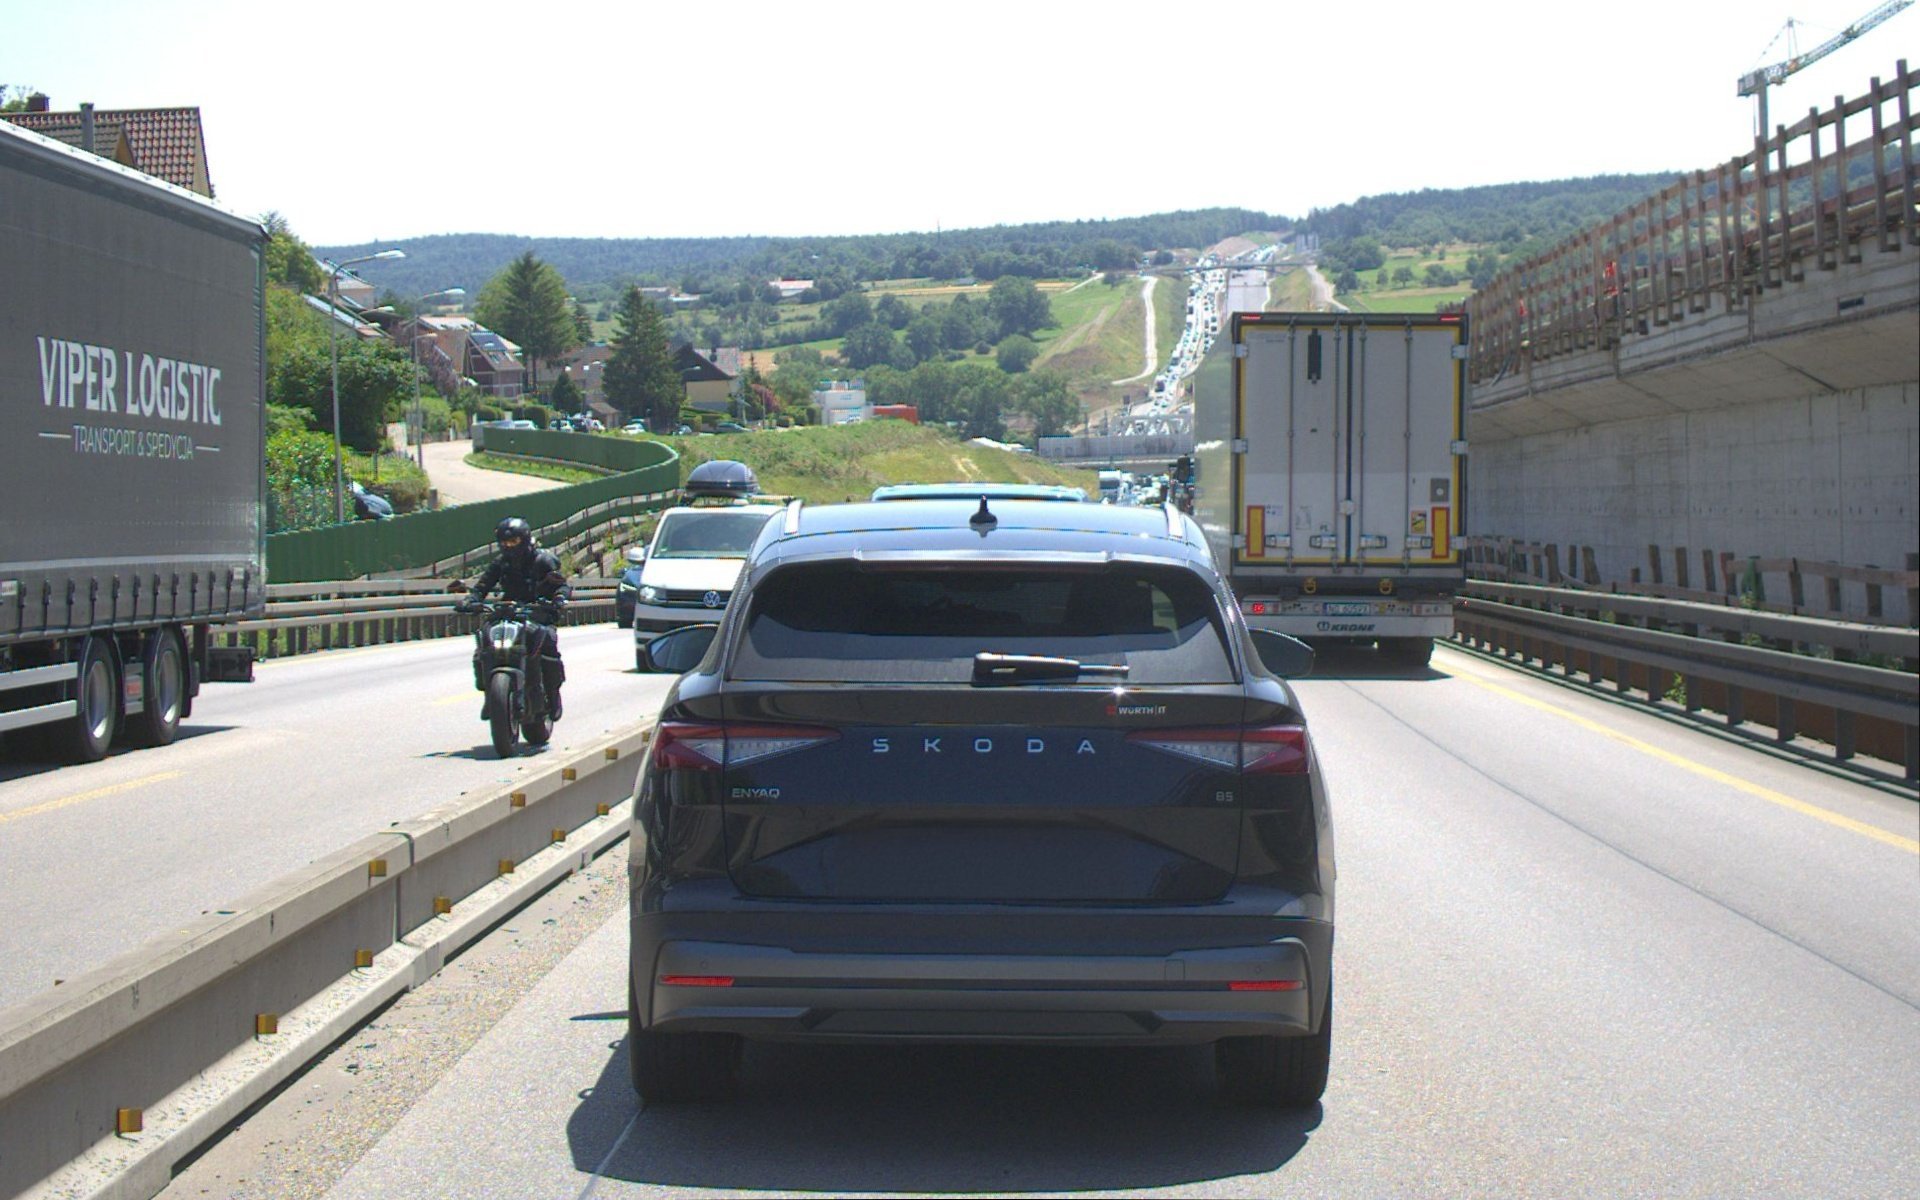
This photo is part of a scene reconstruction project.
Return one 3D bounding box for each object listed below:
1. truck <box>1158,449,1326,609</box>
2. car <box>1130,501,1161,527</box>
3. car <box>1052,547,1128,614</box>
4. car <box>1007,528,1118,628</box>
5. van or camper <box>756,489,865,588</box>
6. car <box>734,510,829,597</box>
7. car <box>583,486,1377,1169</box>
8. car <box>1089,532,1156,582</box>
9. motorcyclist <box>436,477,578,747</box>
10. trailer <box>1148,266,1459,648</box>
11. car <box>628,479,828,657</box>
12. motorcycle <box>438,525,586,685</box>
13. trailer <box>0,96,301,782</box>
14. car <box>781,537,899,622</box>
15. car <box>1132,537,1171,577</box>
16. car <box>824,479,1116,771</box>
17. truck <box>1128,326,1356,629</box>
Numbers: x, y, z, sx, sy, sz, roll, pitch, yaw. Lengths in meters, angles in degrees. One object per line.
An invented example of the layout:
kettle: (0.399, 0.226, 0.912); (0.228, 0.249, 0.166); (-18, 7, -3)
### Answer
truck: (6.017, -1.432, 75.271); (3.195, 3.180, 12.807); (0, 0, 3)
car: (12.138, -5.615, 225.197); (1.844, 1.579, 3.836); (1, 0, 1)
car: (3.324, -0.512, 88.467); (1.707, 1.616, 4.001); (1, 2, -1)
car: (1.746, -0.414, 59.676); (1.707, 1.616, 4.001); (1, 2, -1)
van or camper: (-3.947, -1.588, 91.868); (2.354, 2.507, 6.327); (1, 0, 2)
car: (-4.255, -1.087, 82.602); (1.993, 2.007, 4.000); (1, 0, 1)
car: (-0.102, 0.532, 9.975); (1.842, 1.581, 3.908); (1, 0, -5)
car: (5.297, -1.389, 112.605); (1.993, 1.579, 3.836); (1, 0, 0)
motorcyclist: (-3.169, 0.074, 24.125); (0.853, 1.848, 0.984); (1, 1, 0)
trailer: (4.040, -1.556, 43.035); (2.531, 4.113, 11.548); (1, 0, -1)
car: (-2.676, -0.361, 40.785); (2.022, 1.953, 4.899); (1, 0, 0)
motorcycle: (-3.147, 0.013, 24.310); (0.786, 1.076, 1.912); (1, 1, 0)
trailer: (-6.930, -1.068, 23.759); (2.757, 4.056, 8.634); (1, 2, 2)
car: (-2.163, -0.368, 63.336); (1.993, 1.499, 4.649); (1, 0, 0)
car: (8.534, -1.908, 153.039); (1.701, 1.722, 3.836); (1, 0, 4)
car: (-0.012, 0.106, 24.292); (1.706, 1.875, 4.001); (1, 2, -5)
truck: (3.964, -1.642, 50.018); (2.513, 4.011, 8.238); (1, 0, -1)
